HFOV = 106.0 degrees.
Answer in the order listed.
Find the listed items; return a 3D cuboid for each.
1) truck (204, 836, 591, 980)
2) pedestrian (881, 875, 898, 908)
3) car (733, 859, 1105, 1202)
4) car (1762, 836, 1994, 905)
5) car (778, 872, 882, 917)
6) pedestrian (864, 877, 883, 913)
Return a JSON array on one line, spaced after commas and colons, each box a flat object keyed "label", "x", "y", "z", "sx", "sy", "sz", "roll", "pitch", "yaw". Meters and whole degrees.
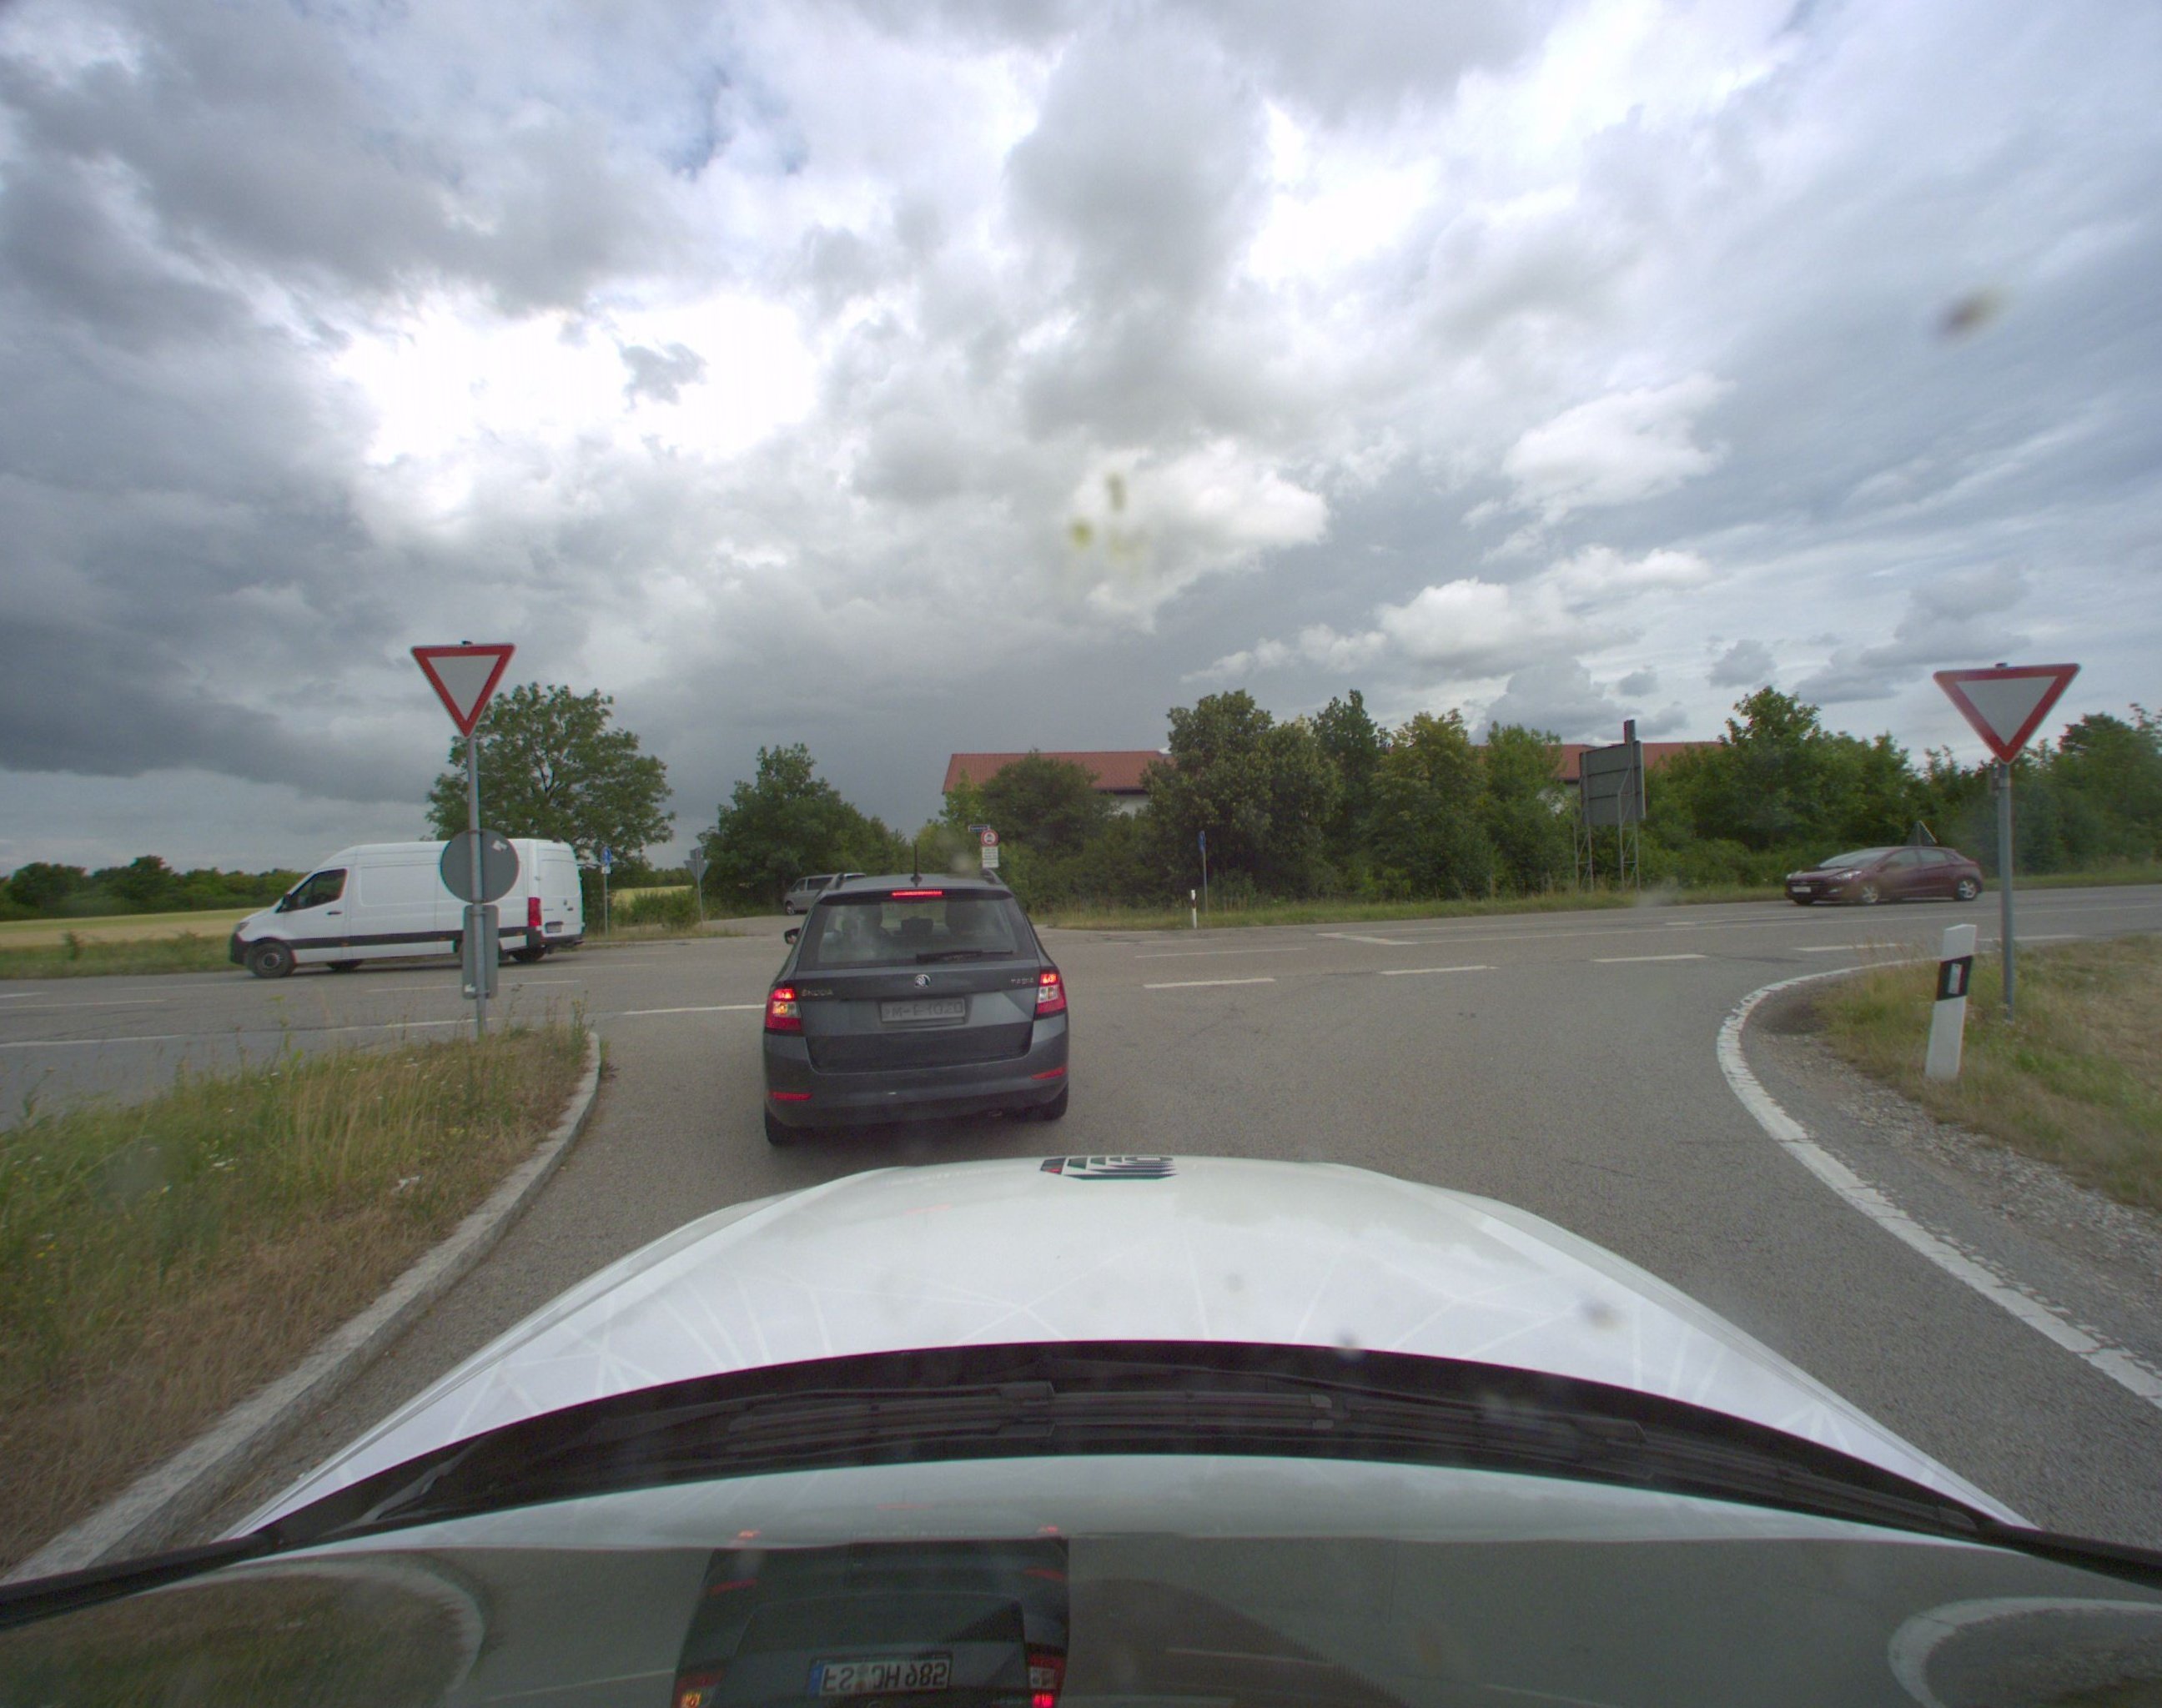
[{"label": "truck", "x": -13.919, "y": 1.063, "z": 16.959, "sx": 5.990, "sy": 2.576, "sz": 1.995, "roll": -2, "pitch": -2, "yaw": -7}, {"label": "pedestrian", "x": -9.992, "y": 1.962, "z": 42.461, "sx": 0.578, "sy": 1.682, "sz": 0.569, "roll": -3, "pitch": 0, "yaw": 20}, {"label": "car", "x": -1.149, "y": 0.822, "z": 5.597, "sx": 1.679, "sy": 1.463, "sz": 3.689, "roll": -1, "pitch": -1, "yaw": -14}, {"label": "car", "x": 20.248, "y": 0.422, "z": 20.805, "sx": 4.141, "sy": 1.464, "sz": 1.996, "roll": -3, "pitch": -1, "yaw": -5}, {"label": "car", "x": -12.693, "y": 2.048, "z": 41.186, "sx": 4.851, "sy": 2.013, "sz": 2.357, "roll": -3, "pitch": 0, "yaw": 33}, {"label": "pedestrian", "x": -10.377, "y": 2.041, "z": 40.748, "sx": 0.523, "sy": 1.725, "sz": 0.646, "roll": -3, "pitch": 0, "yaw": 32}]
